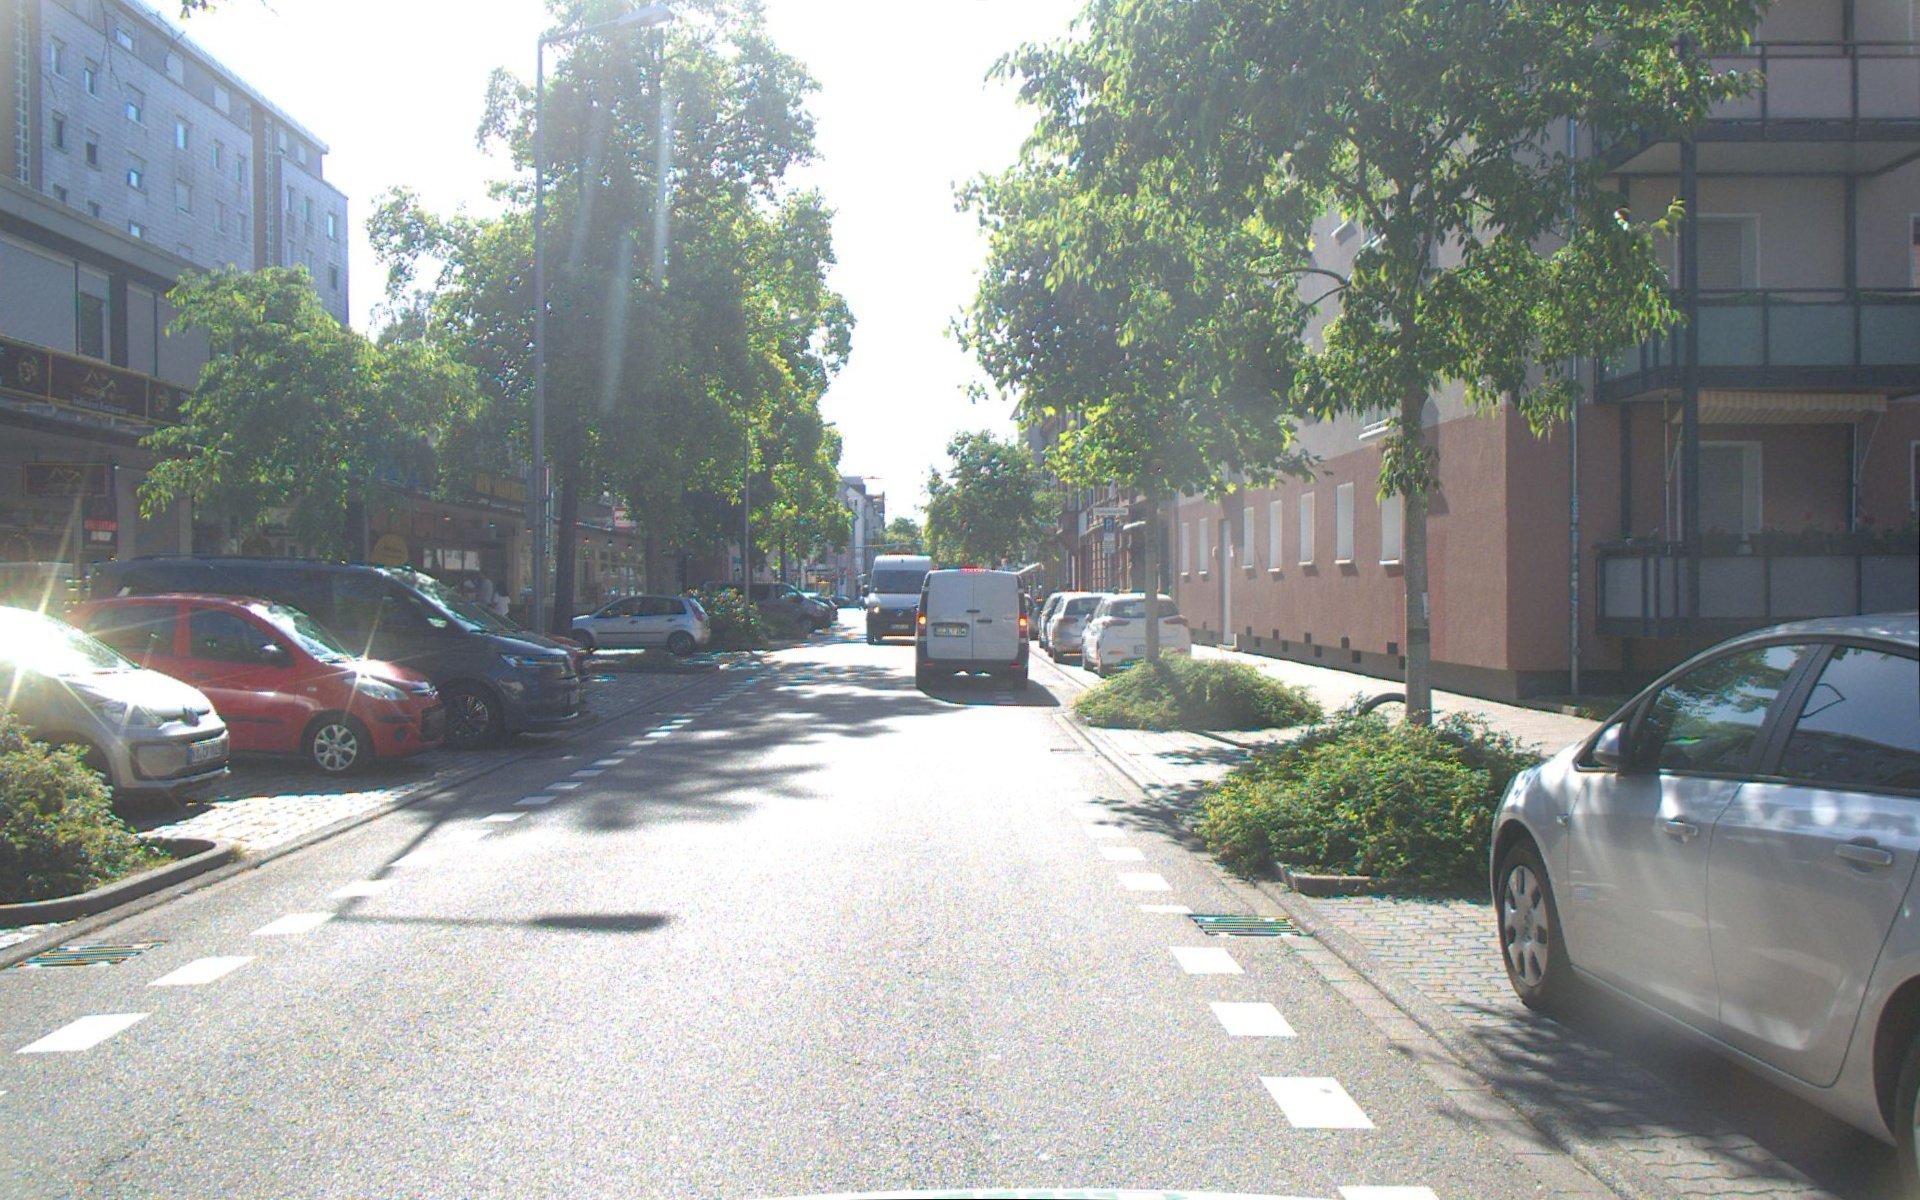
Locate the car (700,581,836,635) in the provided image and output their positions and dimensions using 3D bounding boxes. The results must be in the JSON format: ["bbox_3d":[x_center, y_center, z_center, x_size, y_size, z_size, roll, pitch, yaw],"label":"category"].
[{"bbox_3d":[-7.606,0.309,65.820,5.185,2.009,2.015,1,0,-2],"label":"car"}]

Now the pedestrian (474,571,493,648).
[{"bbox_3d":[-12.339,0.249,42.833,0.382,1.968,0.361,0,0,0],"label":"pedestrian"}]

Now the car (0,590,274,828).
[{"bbox_3d":[-7.197,0.725,12.246,3.510,1.588,1.673,1,0,5],"label":"car"}]

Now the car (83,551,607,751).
[{"bbox_3d":[-6.495,0.526,17.906,4.929,1.972,1.872,1,0,-2],"label":"car"}]

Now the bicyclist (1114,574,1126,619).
[{"bbox_3d":[5.385,-0.119,55.757,0.353,1.503,0.531,0,0,0],"label":"bicyclist"}]

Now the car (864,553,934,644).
[{"bbox_3d":[-1.756,-0.064,49.531,1.953,2.517,6.603,0,0,-1],"label":"car"}]

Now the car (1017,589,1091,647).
[{"bbox_3d":[2.504,0.465,44.749,1.674,1.506,3.709,0,0,-2],"label":"car"}]

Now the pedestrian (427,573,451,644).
[{"bbox_3d":[-13.378,0.224,42.486,0.475,1.813,0.427,0,0,-4],"label":"pedestrian"}]

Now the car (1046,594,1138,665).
[{"bbox_3d":[2.935,0.625,37.651,1.749,1.485,4.517,-1,0,1],"label":"car"}]

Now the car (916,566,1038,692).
[{"bbox_3d":[0.269,0.444,28.397,1.881,1.947,4.888,1,0,0],"label":"car"}]

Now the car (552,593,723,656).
[{"bbox_3d":[-7.909,0.584,40.858,3.907,1.482,1.859,0,0,-3],"label":"car"}]

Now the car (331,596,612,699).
[{"bbox_3d":[-7.514,0.711,25.705,3.839,1.476,1.709,1,0,-2],"label":"car"}]

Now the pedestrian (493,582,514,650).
[{"bbox_3d":[-11.710,0.403,42.440,0.382,1.735,0.502,1,-1,0],"label":"pedestrian"}]

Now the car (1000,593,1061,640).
[{"bbox_3d":[2.307,0.509,54.703,1.703,1.477,3.998,0,0,-2],"label":"car"}]

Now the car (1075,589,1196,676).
[{"bbox_3d":[3.285,0.576,31.567,1.696,1.512,3.793,-2,0,-3],"label":"car"}]

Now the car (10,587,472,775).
[{"bbox_3d":[-6.474,0.702,15.184,3.486,1.581,1.661,1,0,-2],"label":"car"}]

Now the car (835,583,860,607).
[{"bbox_3d":[-9.752,-0.417,143.481,1.953,2.049,4.000,0,0,0],"label":"car"}]

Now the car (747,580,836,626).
[{"bbox_3d":[-8.012,0.135,78.809,3.903,2.049,2.001,1,0,3],"label":"car"}]

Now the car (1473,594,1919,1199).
[{"bbox_3d":[2.979,0.724,4.780,1.681,1.479,3.999,-1,0,-1],"label":"car"}]
